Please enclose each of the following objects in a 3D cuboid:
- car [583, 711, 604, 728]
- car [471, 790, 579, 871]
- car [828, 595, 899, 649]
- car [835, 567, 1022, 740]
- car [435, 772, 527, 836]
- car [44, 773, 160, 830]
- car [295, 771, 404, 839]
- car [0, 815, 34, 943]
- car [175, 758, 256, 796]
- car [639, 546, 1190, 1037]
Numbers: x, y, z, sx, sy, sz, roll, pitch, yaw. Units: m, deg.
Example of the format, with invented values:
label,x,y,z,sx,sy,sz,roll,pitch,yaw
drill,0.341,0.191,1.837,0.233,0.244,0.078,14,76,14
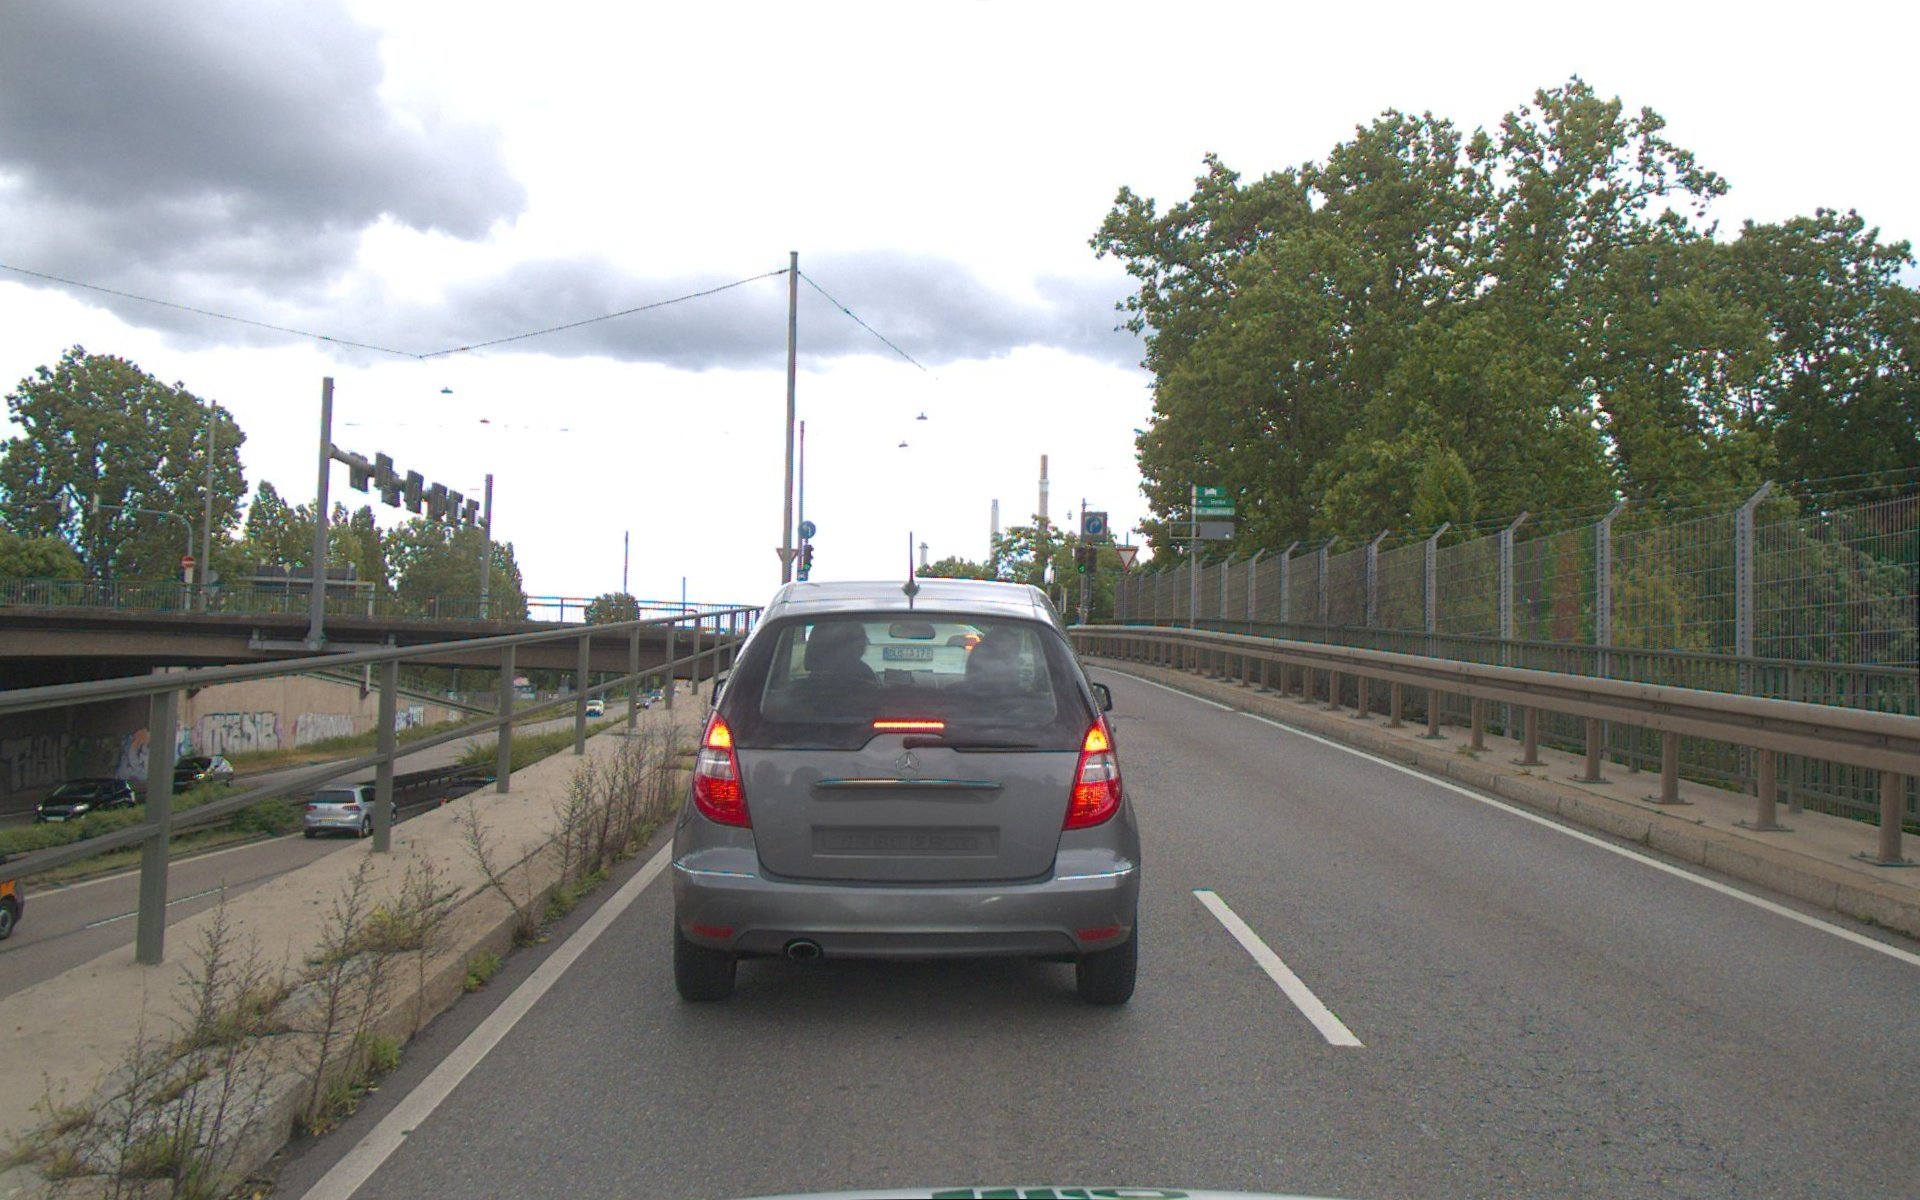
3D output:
label,x,y,z,sx,sy,sz,roll,pitch,yaw
car,-47.781,15.644,215.924,1.954,2.103,5.171,1,-3,-5
car,-10.918,5.772,41.766,1.861,1.650,4.174,1,-3,-4
car,-3.601,0.774,61.152,1.959,1.903,4.200,1,0,-12
car,-0.380,0.558,19.219,1.892,1.747,4.404,1,0,-2
car,-14.674,6.240,50.911,1.861,1.650,4.174,1,-3,-4
car,-26.713,6.273,51.650,1.630,1.528,3.856,0,-4,-1
car,-17.901,5.992,48.681,1.861,1.650,4.174,1,-3,-4
car,-16.751,4.548,25.754,1.860,2.038,4.956,1,-3,-1
car,-31.823,7.538,70.817,1.676,1.400,4.108,-1,-3,-2
car,-0.176,0.640,7.540,1.820,1.616,3.999,1,0,-1
